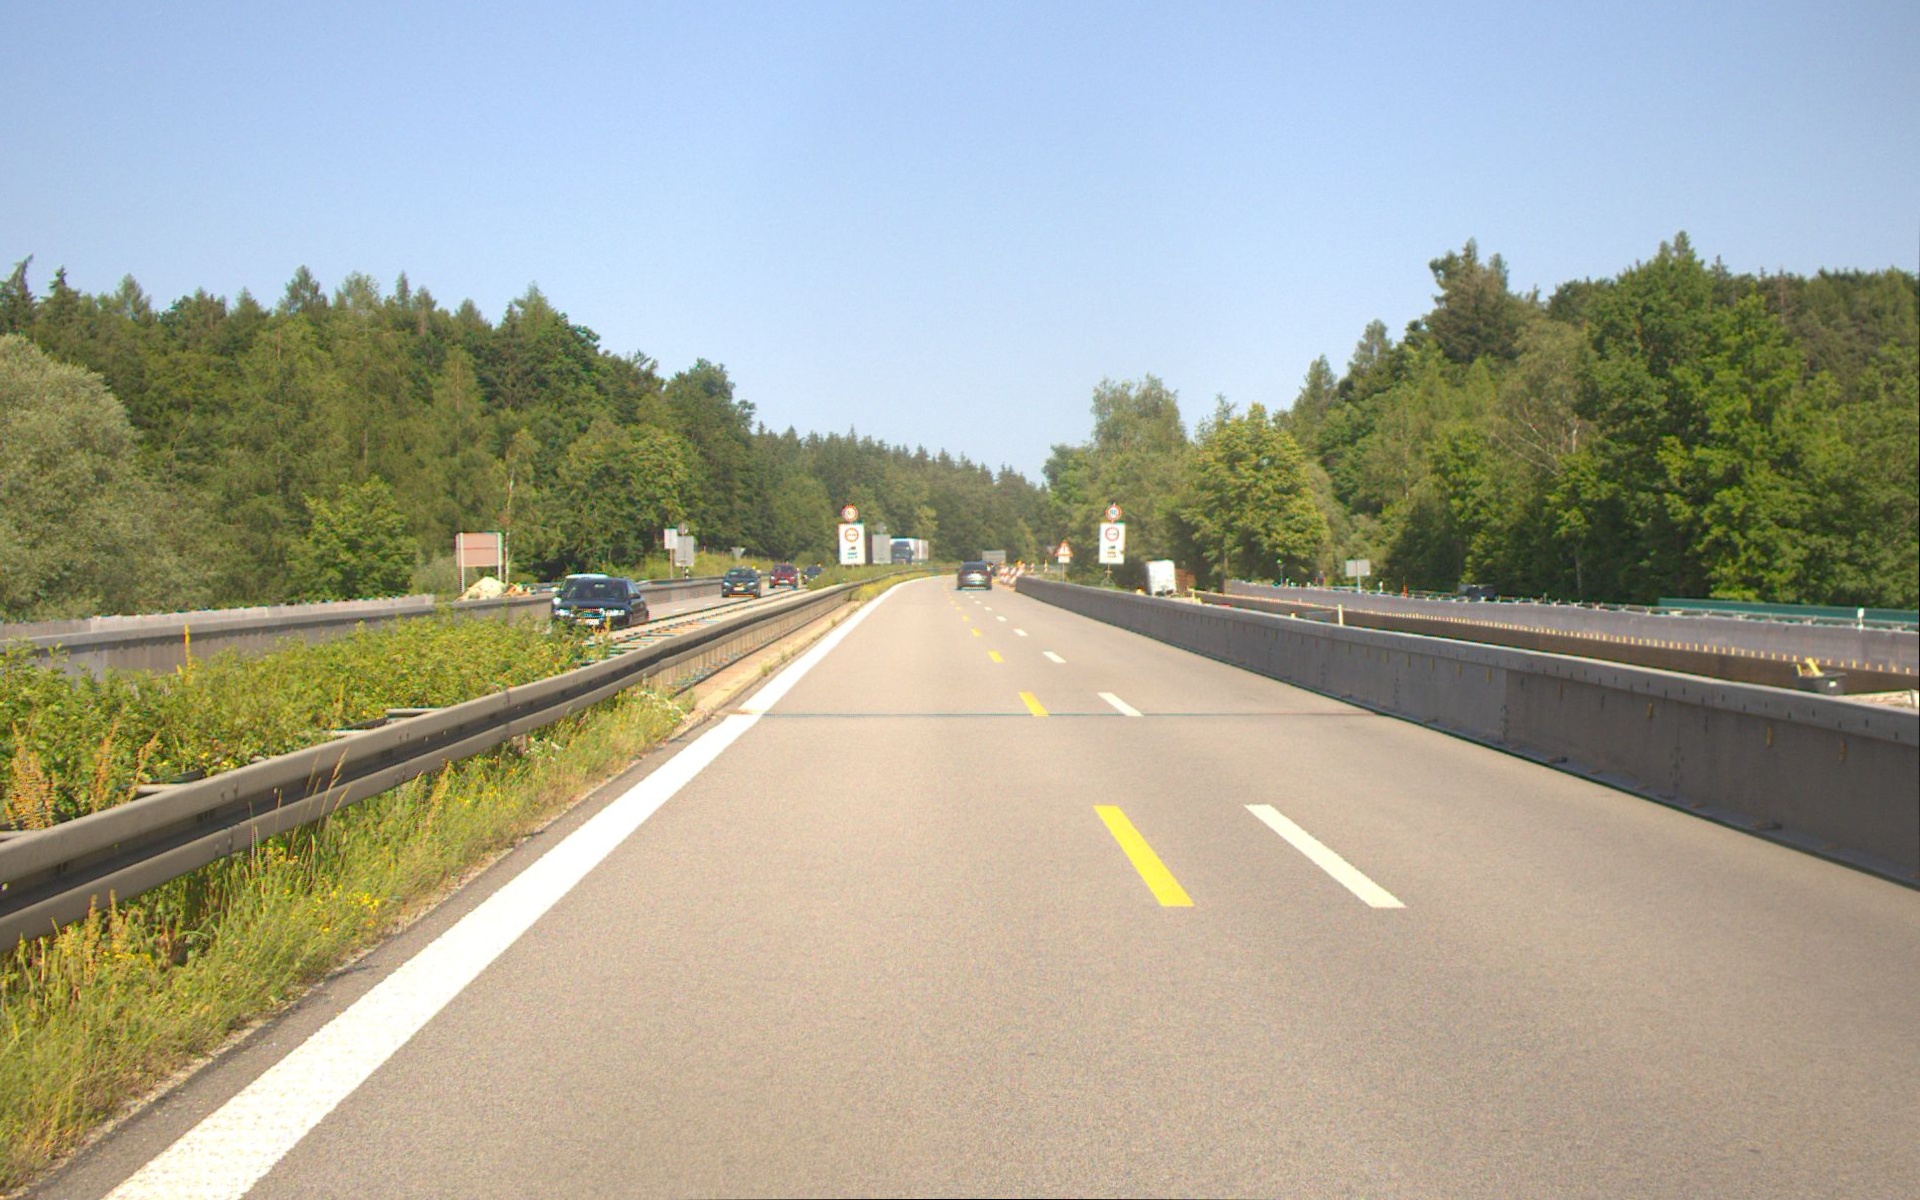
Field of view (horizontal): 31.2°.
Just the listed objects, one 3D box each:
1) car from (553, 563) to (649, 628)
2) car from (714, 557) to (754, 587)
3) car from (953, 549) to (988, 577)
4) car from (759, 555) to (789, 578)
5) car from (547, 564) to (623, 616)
[{"bbox_3d":[-8.175,-0.127,78.598,1.646,1.372,4.808,-1,1,0],"label":"car"},{"bbox_3d":[-11.411,-1.438,173.942,1.744,1.461,4.910,-1,1,-1],"label":"car"},{"bbox_3d":[0.546,-1.983,182.901,1.744,1.461,4.294,-1,1,0],"label":"car"},{"bbox_3d":[-12.230,-2.203,226.425,1.744,1.461,4.294,-1,1,-1],"label":"car"},{"bbox_3d":[-10.460,-0.296,96.164,1.682,1.388,4.193,-1,1,-1],"label":"car"}]
